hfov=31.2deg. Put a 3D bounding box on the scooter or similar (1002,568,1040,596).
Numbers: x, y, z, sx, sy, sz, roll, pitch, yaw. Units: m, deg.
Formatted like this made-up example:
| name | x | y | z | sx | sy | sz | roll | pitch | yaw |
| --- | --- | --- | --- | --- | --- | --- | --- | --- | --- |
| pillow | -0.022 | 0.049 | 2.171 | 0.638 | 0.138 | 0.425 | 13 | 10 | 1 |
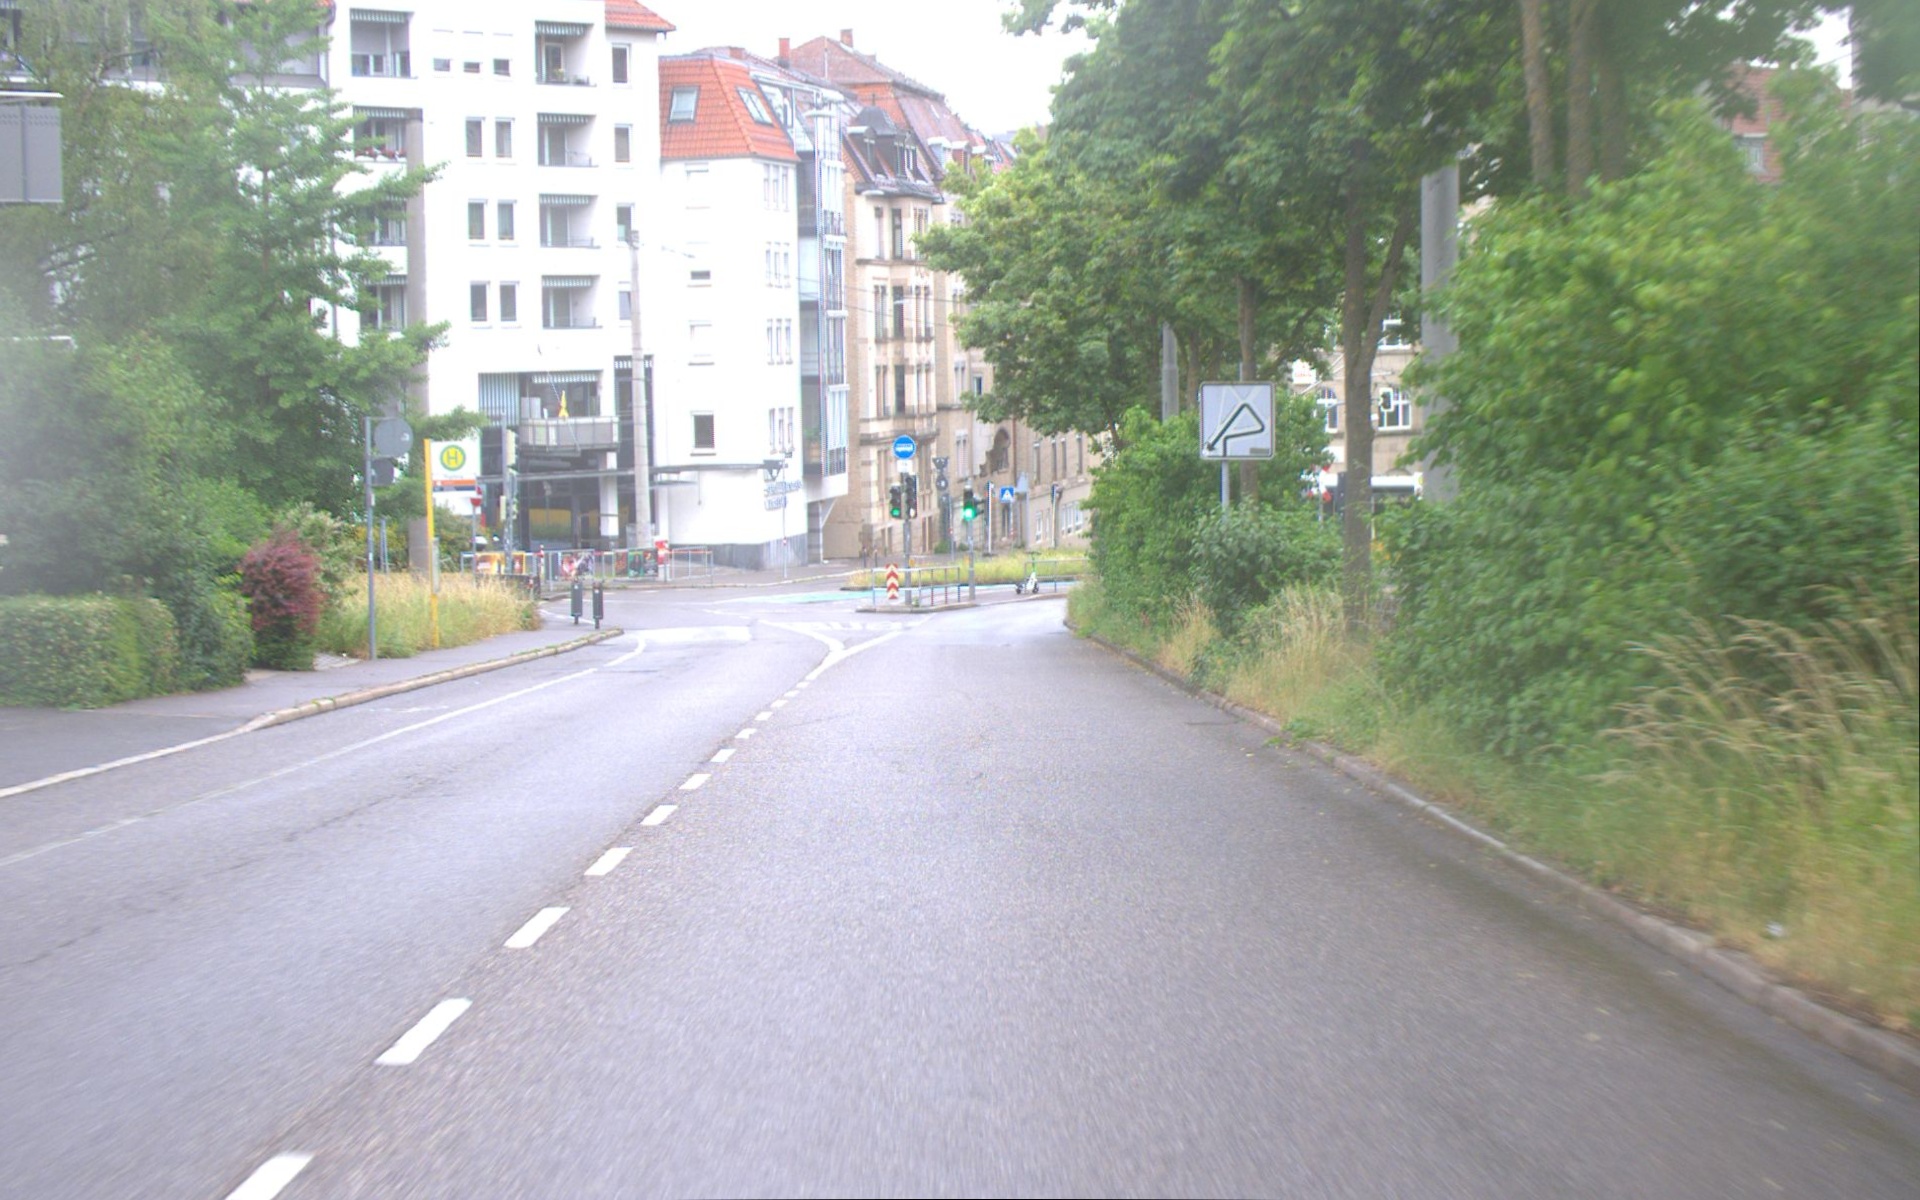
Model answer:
| name | x | y | z | sx | sy | sz | roll | pitch | yaw |
| --- | --- | --- | --- | --- | --- | --- | --- | --- | --- |
| scooter or similar | 1.663 | -0.492 | 93.546 | 0.485 | 0.759 | 1.328 | -1 | 1 | 28 |
